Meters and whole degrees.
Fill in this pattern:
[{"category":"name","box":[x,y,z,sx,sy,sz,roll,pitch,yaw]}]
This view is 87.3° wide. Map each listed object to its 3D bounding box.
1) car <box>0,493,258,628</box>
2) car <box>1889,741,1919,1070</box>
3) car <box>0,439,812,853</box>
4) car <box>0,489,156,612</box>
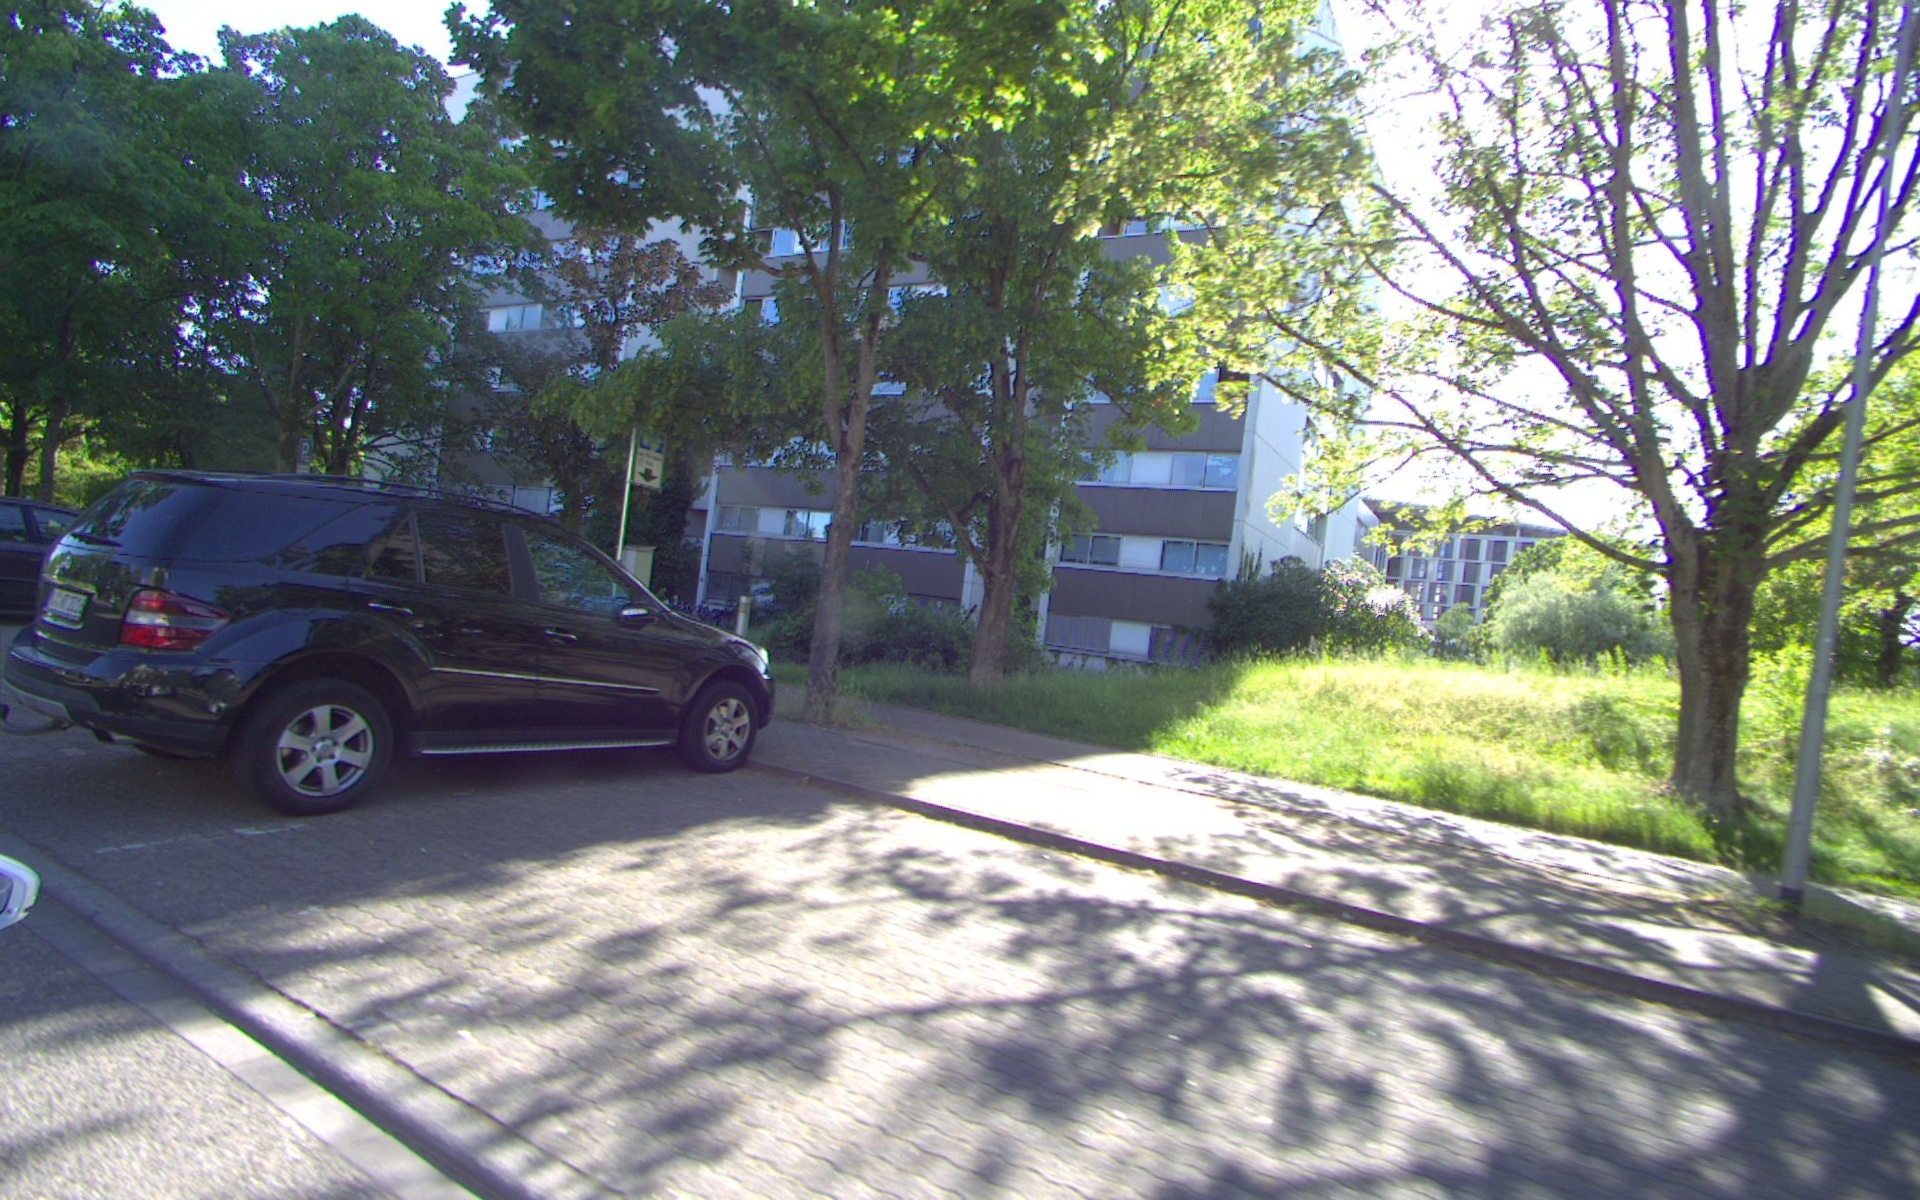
[{"category":"car","box":[-10.882,-0.505,11.735,1.792,1.405,3.989,7,1,31]},{"category":"car","box":[4.027,1.118,2.311,1.704,1.638,4.124,5,-1,29]},{"category":"car","box":[-3.313,0.264,6.856,1.967,1.801,4.592,6,0,31]},{"category":"car","box":[-13.213,-0.757,13.145,1.672,1.518,3.814,6,1,28]}]
